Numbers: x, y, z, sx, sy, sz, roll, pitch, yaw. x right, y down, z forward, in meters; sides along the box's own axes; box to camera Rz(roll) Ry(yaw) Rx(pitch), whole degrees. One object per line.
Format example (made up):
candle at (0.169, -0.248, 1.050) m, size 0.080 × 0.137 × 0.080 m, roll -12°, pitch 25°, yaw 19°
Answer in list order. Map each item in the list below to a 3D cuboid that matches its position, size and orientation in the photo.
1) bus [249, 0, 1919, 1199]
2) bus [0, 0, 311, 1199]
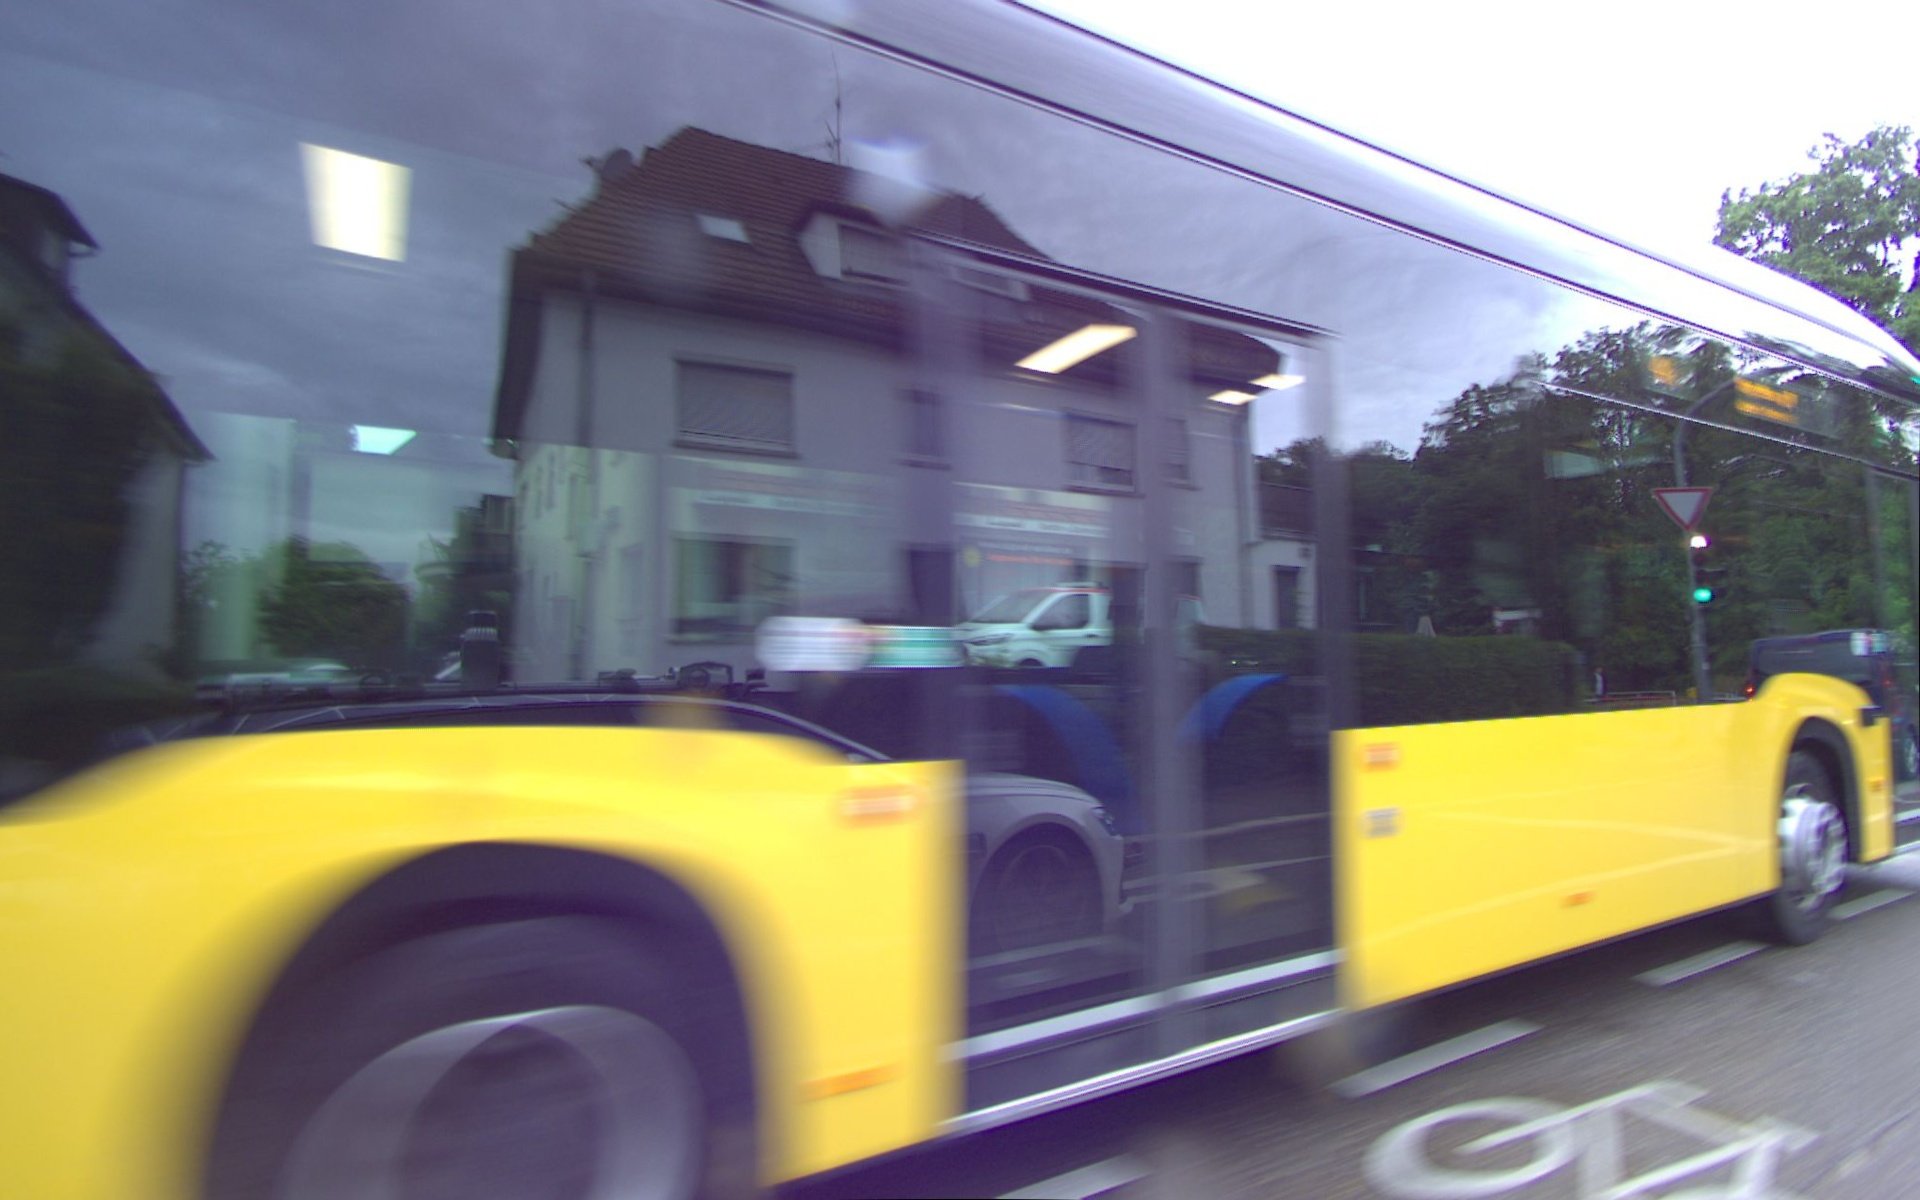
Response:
bus at (2.049, -0.051, 5.054) m, size 8.939 × 3.442 × 2.885 m, roll 1°, pitch -3°, yaw -32°
bus at (-5.583, -0.217, 0.491) m, size 8.573 × 3.442 × 2.666 m, roll 1°, pitch -3°, yaw -29°
